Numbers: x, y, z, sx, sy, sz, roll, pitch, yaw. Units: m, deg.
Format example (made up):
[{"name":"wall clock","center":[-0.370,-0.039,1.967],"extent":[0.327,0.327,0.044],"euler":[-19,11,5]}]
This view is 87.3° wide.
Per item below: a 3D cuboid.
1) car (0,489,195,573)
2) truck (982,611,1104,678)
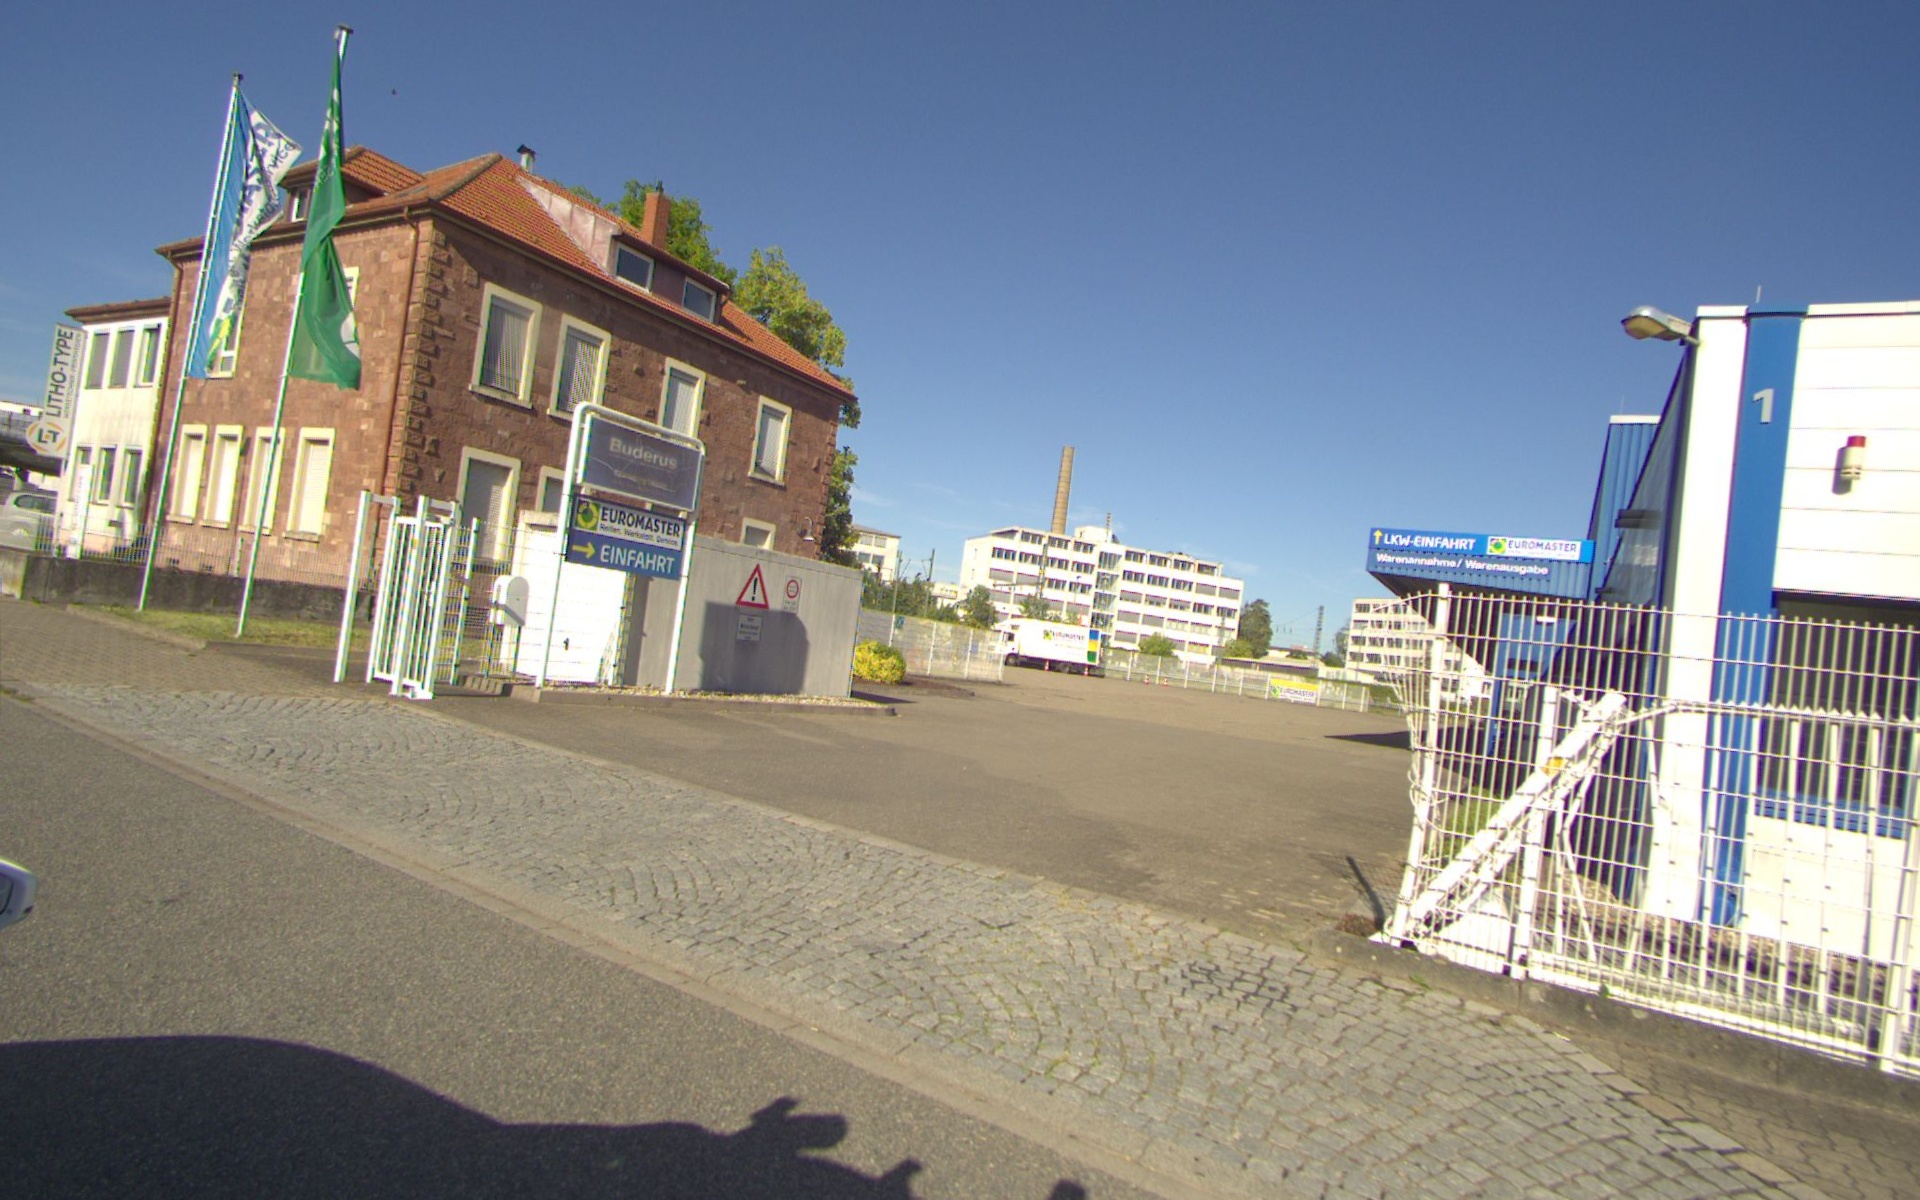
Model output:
[{"name":"car","center":[-29.751,-2.329,34.507],"extent":[5.077,2.037,1.877],"euler":[8,-1,-12]},{"name":"truck","center":[5.942,3.172,71.721],"extent":[8.067,3.605,2.454],"euler":[8,-1,-19]}]
